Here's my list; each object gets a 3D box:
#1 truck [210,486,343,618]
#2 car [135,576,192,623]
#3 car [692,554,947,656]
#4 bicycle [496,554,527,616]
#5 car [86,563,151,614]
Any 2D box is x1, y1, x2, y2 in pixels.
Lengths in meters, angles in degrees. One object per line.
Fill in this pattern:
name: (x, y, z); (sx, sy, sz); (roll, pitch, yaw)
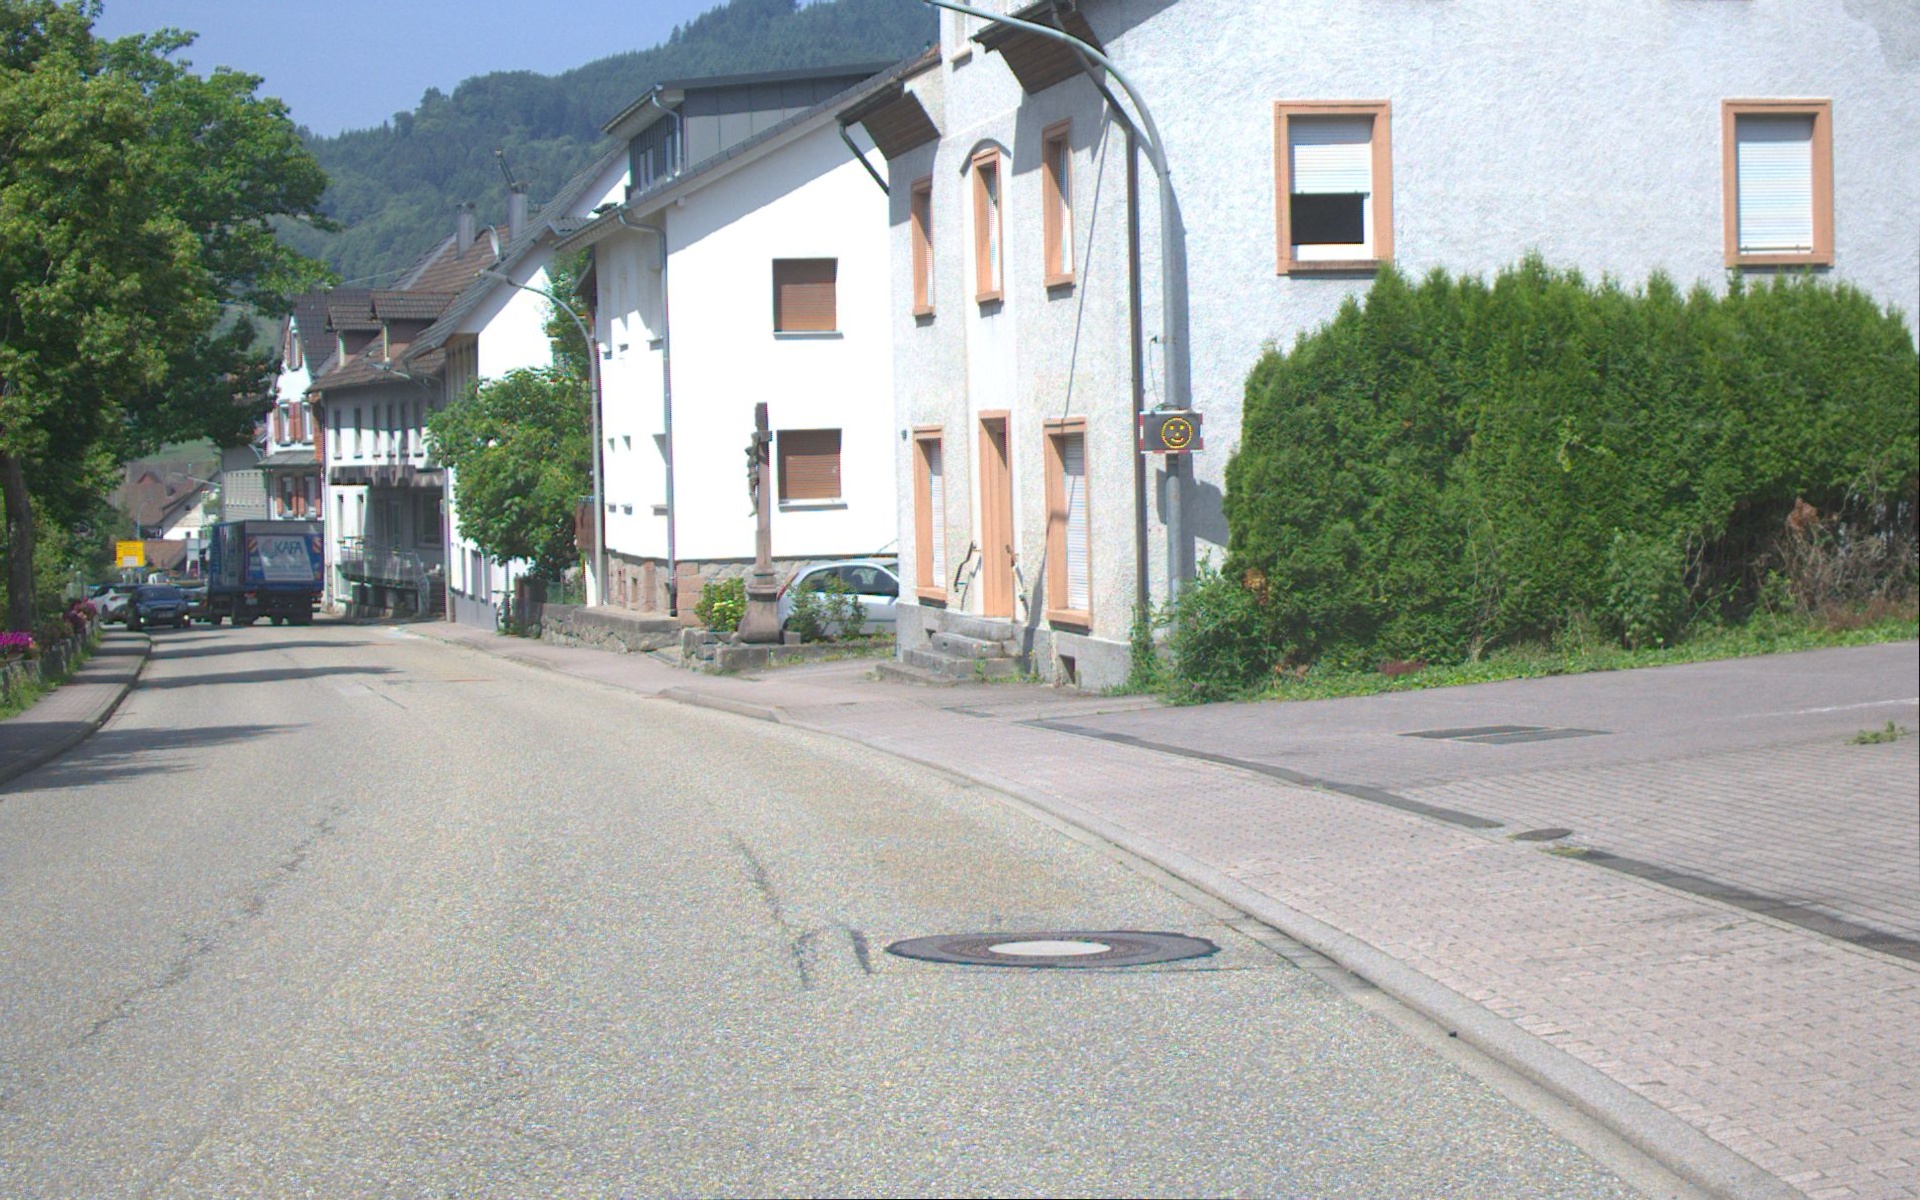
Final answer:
truck: (-22.690, -1.531, 113.821); (3.362, 3.769, 8.442); (-5, 0, -16)
car: (-26.110, -0.018, 112.733); (1.666, 1.413, 4.088); (-3, 1, -12)
car: (-2.252, 0.083, 54.947); (3.771, 1.422, 1.607); (-2, 1, 33)
bicycle: (-10.346, -0.353, 79.286); (0.425, 1.391, 2.277); (-5, 2, -12)
car: (-33.340, -0.452, 136.104); (1.774, 1.728, 4.000); (-5, 0, -22)
